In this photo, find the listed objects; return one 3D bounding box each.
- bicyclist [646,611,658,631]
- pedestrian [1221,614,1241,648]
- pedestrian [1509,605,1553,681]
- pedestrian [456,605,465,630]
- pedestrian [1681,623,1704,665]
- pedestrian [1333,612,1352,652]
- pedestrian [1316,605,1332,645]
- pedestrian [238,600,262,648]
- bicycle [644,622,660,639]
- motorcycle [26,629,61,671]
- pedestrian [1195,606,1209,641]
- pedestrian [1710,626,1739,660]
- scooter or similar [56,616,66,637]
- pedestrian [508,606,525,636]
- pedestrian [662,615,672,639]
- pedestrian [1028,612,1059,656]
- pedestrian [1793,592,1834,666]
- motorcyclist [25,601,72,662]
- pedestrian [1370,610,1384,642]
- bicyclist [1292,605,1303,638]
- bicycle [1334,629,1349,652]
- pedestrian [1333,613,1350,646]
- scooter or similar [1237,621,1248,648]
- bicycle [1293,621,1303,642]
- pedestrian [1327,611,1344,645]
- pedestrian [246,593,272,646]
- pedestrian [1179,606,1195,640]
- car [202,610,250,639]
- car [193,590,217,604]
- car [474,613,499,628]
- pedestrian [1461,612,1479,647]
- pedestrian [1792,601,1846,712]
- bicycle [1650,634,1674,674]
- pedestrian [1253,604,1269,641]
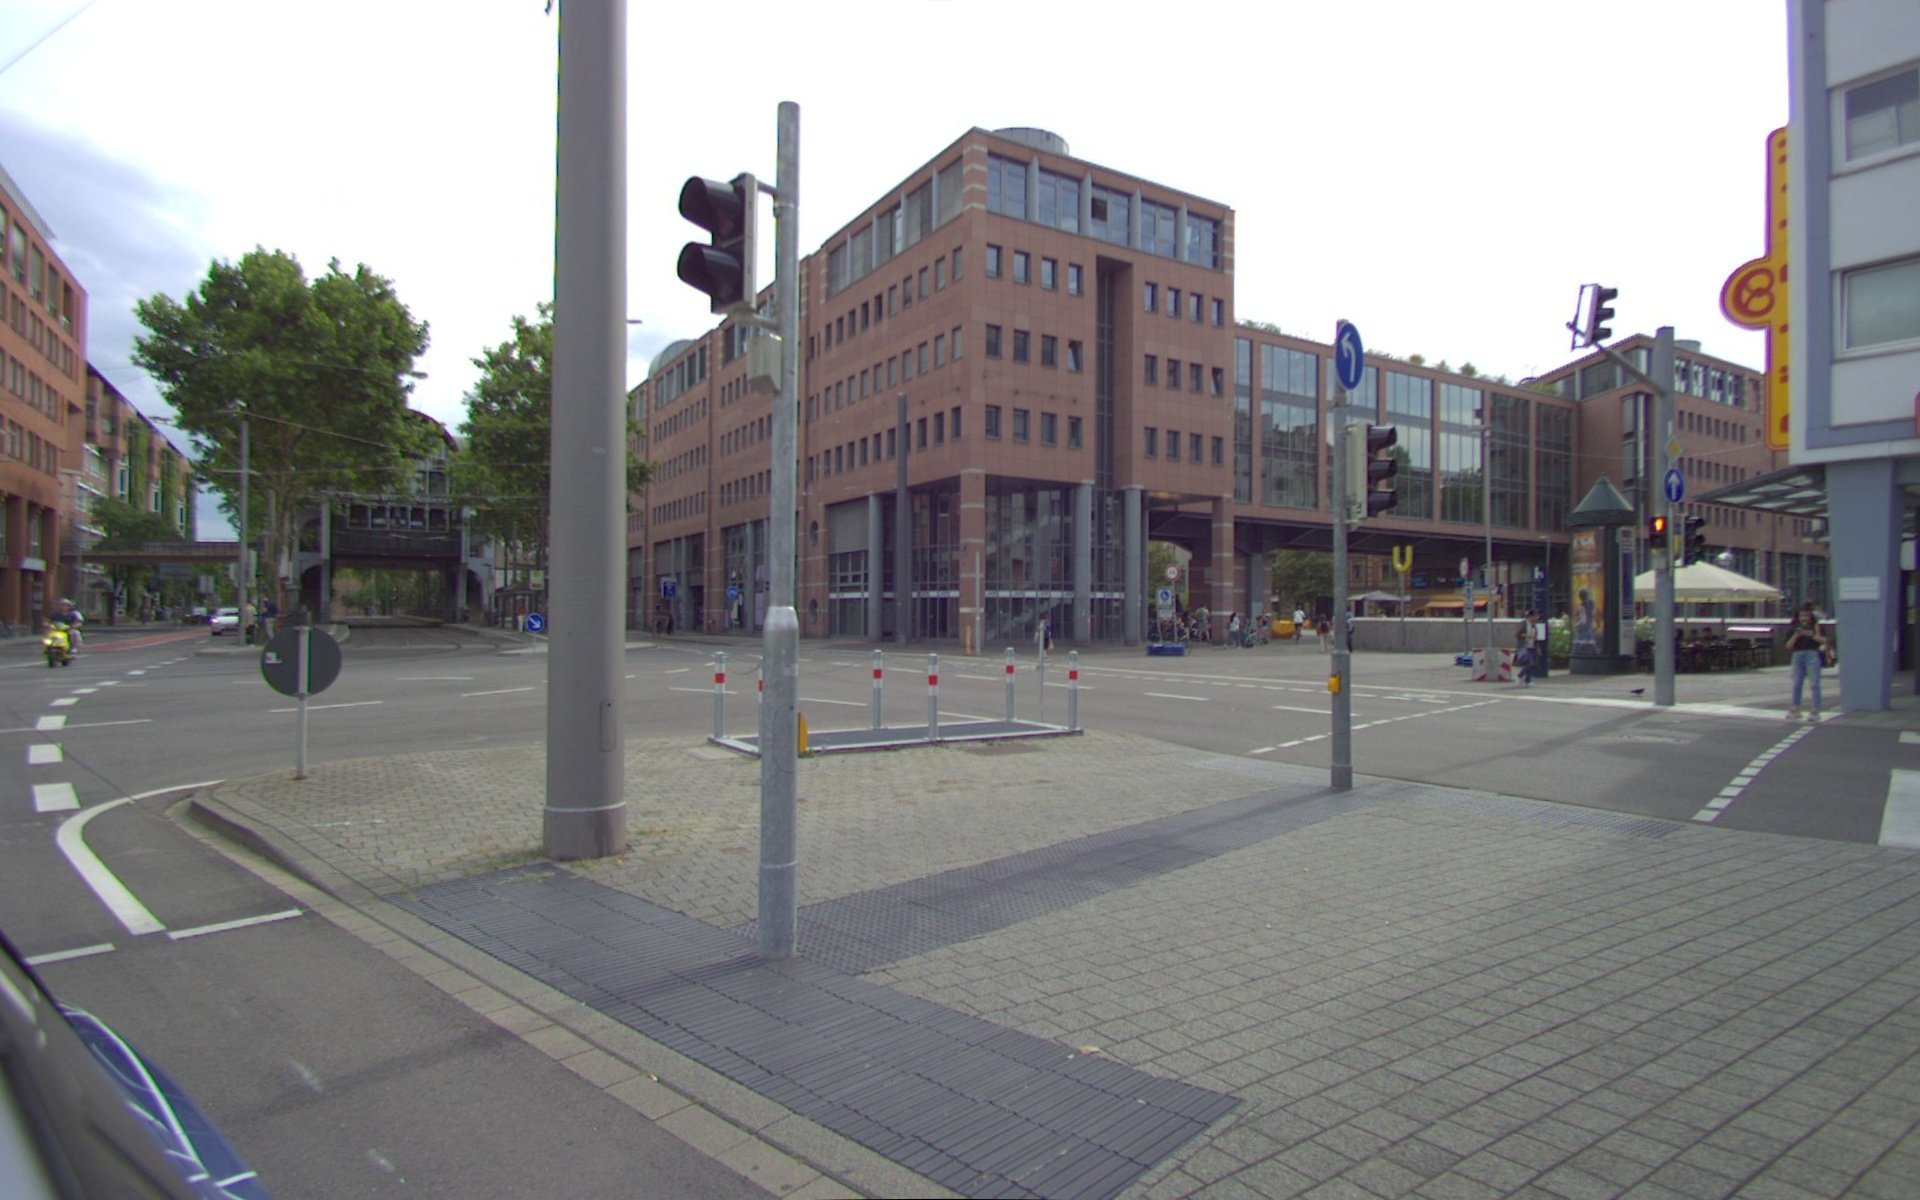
[{"bbox_3d":[-21.136,1.423,69.471,0.543,1.391,0.740,1,-1,-36],"label":"bicyclist"},{"bbox_3d":[11.999,1.356,44.848,0.644,1.484,0.582,1,-1,-31],"label":"pedestrian"},{"bbox_3d":[12.211,0.905,21.658,0.682,1.606,0.657,0,-1,16],"label":"pedestrian"},{"bbox_3d":[-36.838,1.285,74.695,0.474,1.784,0.482,1,-1,-39],"label":"pedestrian"},{"bbox_3d":[20.361,1.222,28.138,0.440,1.142,0.530,0,-1,30],"label":"pedestrian"},{"bbox_3d":[15.006,1.250,39.689,0.498,1.589,0.522,1,-1,-29],"label":"pedestrian"},{"bbox_3d":[15.363,1.054,42.774,0.628,1.654,0.464,0,-1,20],"label":"pedestrian"},{"bbox_3d":[-26.629,0.898,37.958,0.527,1.805,0.578,1,-1,-11],"label":"pedestrian"},{"bbox_3d":[-21.123,2.062,69.443,0.538,1.126,1.594,1,-1,-35],"label":"bicycle"},{"bbox_3d":[-23.175,1.240,25.615,0.561,0.975,2.017,1,-1,-40],"label":"motorcycle"},{"bbox_3d":[11.729,1.122,49.107,0.578,1.676,0.516,0,-1,26],"label":"pedestrian"},{"bbox_3d":[21.989,1.227,29.108,0.451,0.969,0.525,1,-1,-27],"label":"pedestrian"},{"bbox_3d":[-55.441,1.629,62.413,0.268,1.267,0.924,1,-1,-31],"label":"scooter or similar"},{"bbox_3d":[-22.814,1.076,52.071,0.648,1.549,0.560,1,1,-35],"label":"pedestrian"},{"bbox_3d":[-20.242,1.858,69.958,0.520,1.585,0.603,1,-1,-31],"label":"pedestrian"},{"bbox_3d":[2.852,1.159,34.483,0.785,1.484,0.686,1,-1,-31],"label":"pedestrian"},{"bbox_3d":[21.942,0.746,26.018,0.850,1.873,0.582,1,-1,-32],"label":"pedestrian"},{"bbox_3d":[-23.149,0.785,25.725,0.859,1.528,1.045,1,-1,-41],"label":"motorcyclist"},{"bbox_3d":[22.242,1.370,54.023,0.512,1.676,0.465,1,-1,-31],"label":"pedestrian"},{"bbox_3d":[16.622,1.048,49.844,0.542,1.581,0.878,0,-1,19],"label":"bicyclist"},{"bbox_3d":[16.076,1.698,42.661,0.469,0.894,1.778,0,-1,18],"label":"bicycle"},{"bbox_3d":[16.089,1.241,42.707,0.627,1.385,0.860,0,-1,17],"label":"pedestrian"},{"bbox_3d":[12.942,1.583,46.374,0.379,1.178,1.289,0,0,11],"label":"scooter or similar"},{"bbox_3d":[16.673,1.520,49.921,0.469,0.996,1.778,0,-1,18],"label":"bicycle"},{"bbox_3d":[18.274,1.360,49.263,0.512,1.676,0.582,1,-1,-31],"label":"pedestrian"},{"bbox_3d":[-25.165,0.697,36.352,0.682,1.889,0.809,1,-1,-31],"label":"pedestrian"},{"bbox_3d":[11.216,1.129,50.068,0.512,1.676,0.582,1,-1,-31],"label":"pedestrian"},{"bbox_3d":[-43.837,1.439,60.528,1.925,1.613,4.012,1,0,-31],"label":"car"},{"bbox_3d":[-89.811,-0.347,120.400,1.925,1.613,4.012,1,0,-31],"label":"car"},{"bbox_3d":[-48.577,2.081,103.766,1.837,1.484,4.308,1,-1,-32],"label":"car"},{"bbox_3d":[24.757,1.436,49.121,0.512,1.676,0.582,1,-1,-31],"label":"pedestrian"},{"bbox_3d":[12.530,0.810,14.763,0.492,1.571,0.519,1,-1,-38],"label":"pedestrian"},{"bbox_3d":[18.476,1.401,26.650,0.472,0.996,1.768,0,-1,34],"label":"bicycle"},{"bbox_3d":[14.785,1.094,49.727,0.678,1.775,0.497,0,-1,11],"label":"pedestrian"}]
